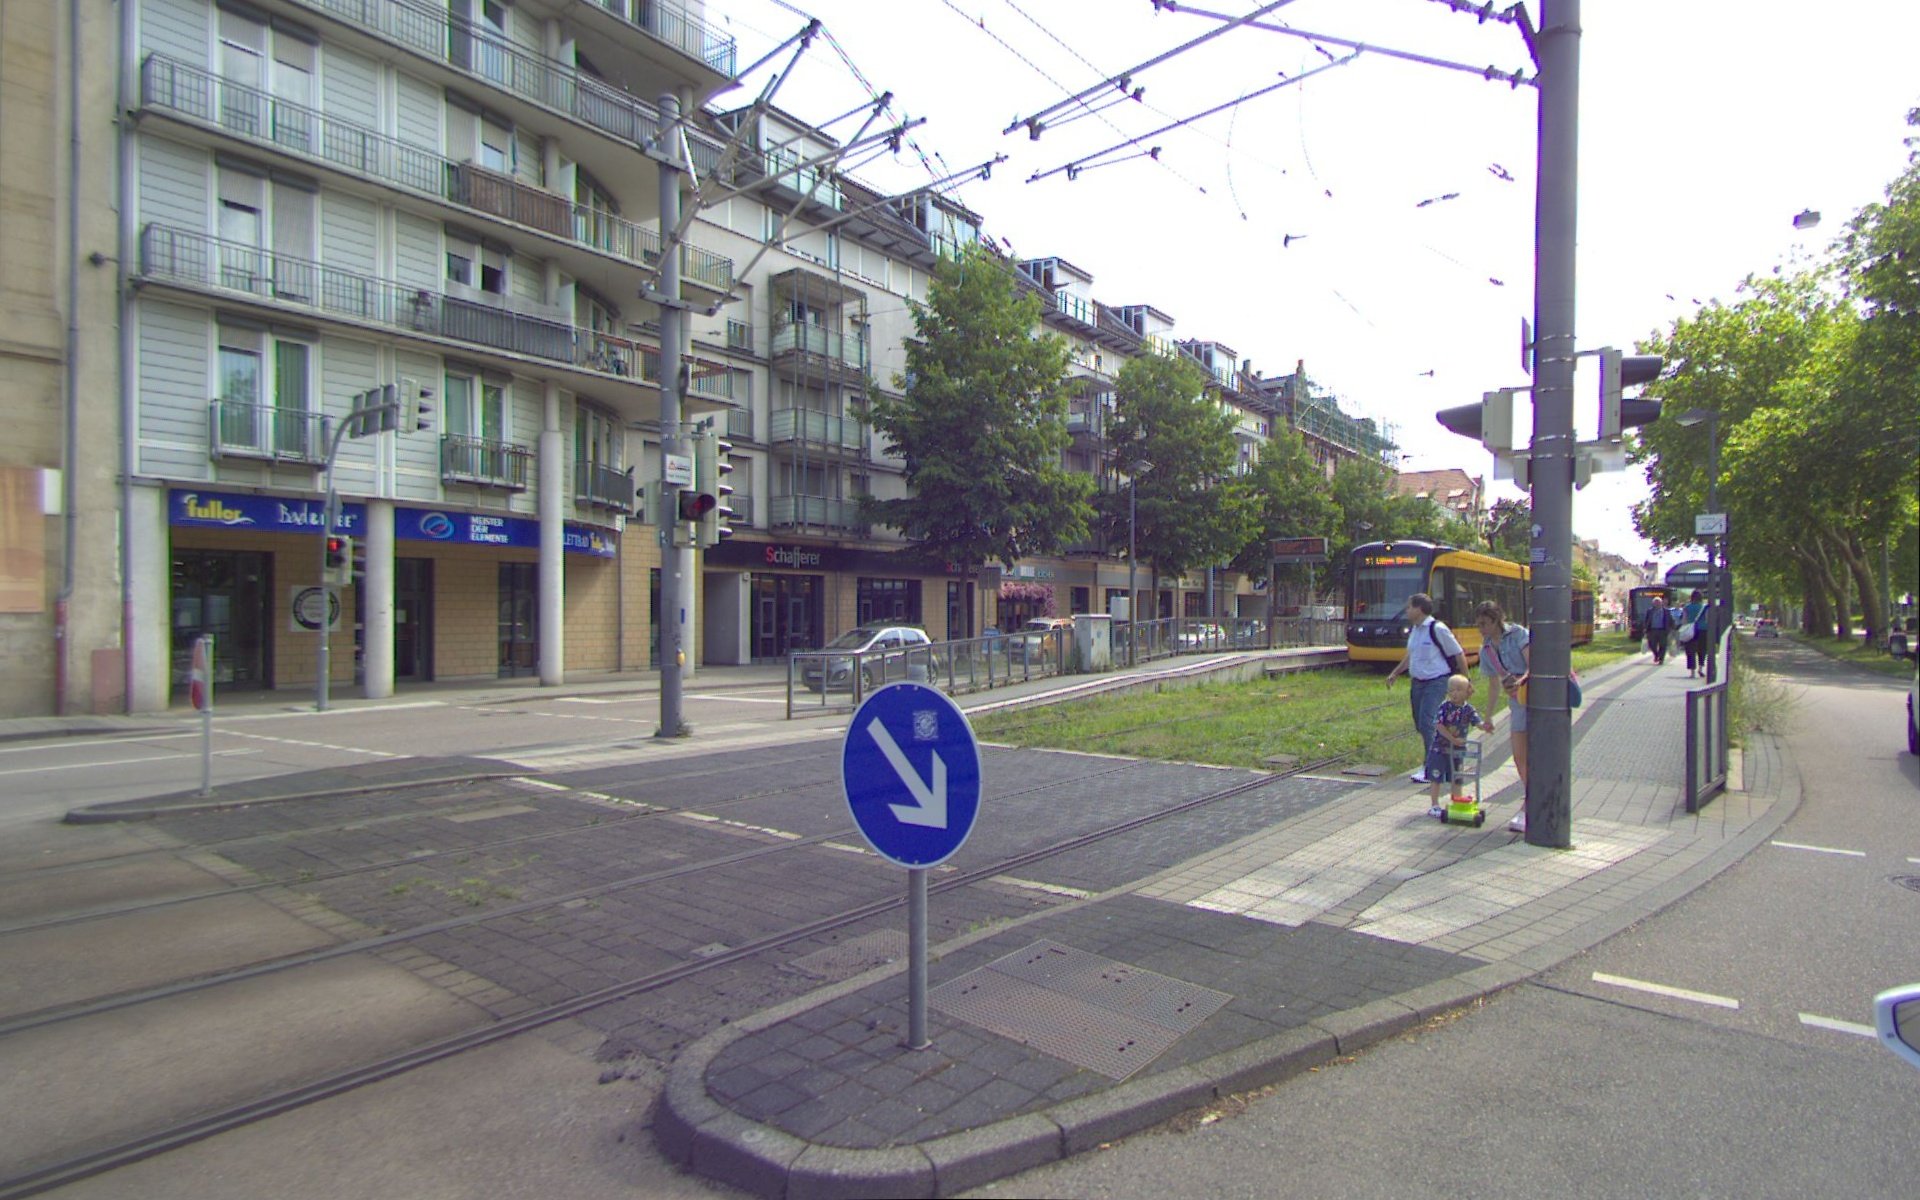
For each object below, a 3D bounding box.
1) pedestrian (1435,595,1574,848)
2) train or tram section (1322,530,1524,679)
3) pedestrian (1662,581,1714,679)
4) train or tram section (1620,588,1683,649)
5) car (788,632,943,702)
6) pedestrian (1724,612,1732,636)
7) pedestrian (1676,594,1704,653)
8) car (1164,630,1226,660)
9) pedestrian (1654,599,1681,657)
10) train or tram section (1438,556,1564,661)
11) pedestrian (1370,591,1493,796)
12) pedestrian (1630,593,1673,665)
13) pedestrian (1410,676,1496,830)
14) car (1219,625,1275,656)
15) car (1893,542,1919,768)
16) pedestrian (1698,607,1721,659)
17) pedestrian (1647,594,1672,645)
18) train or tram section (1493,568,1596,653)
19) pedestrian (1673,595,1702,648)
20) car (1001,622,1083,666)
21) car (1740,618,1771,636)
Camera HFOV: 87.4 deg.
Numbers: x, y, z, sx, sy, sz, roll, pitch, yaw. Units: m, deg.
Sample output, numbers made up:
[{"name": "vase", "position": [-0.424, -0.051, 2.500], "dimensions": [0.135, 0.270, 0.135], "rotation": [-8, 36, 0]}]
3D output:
[{"name": "pedestrian", "position": [3.872, 0.819, 7.160], "dimensions": [0.668, 1.688, 0.620], "rotation": [0, -1, -32]}, {"name": "train or tram section", "position": [14.511, 0.208, 30.564], "dimensions": [2.772, 3.632, 12.963], "rotation": [0, -1, 38]}, {"name": "pedestrian", "position": [14.686, 0.604, 20.259], "dimensions": [0.817, 1.924, 0.843], "rotation": [0, -1, 38]}, {"name": "train or tram section", "position": [45.642, 1.227, 66.118], "dimensions": [2.690, 3.632, 12.963], "rotation": [0, -1, 38]}, {"name": "car", "position": [-2.129, 1.492, 23.502], "dimensions": [1.612, 1.457, 3.630], "rotation": [-1, -1, 37]}, {"name": "pedestrian", "position": [50.716, 1.576, 66.303], "dimensions": [0.380, 1.612, 0.437], "rotation": [-1, -1, 37]}, {"name": "pedestrian", "position": [23.699, 0.764, 32.606], "dimensions": [0.692, 1.874, 0.786], "rotation": [-1, -1, 37]}, {"name": "car", "position": [11.638, 2.182, 49.674], "dimensions": [1.698, 1.389, 3.463], "rotation": [-1, -1, 38]}, {"name": "pedestrian", "position": [23.266, 0.918, 33.018], "dimensions": [0.692, 1.874, 0.904], "rotation": [-1, -1, 37]}, {"name": "train or tram section", "position": [21.631, 0.368, 39.808], "dimensions": [2.761, 3.632, 10.361], "rotation": [0, -1, 38]}, {"name": "pedestrian", "position": [4.476, 0.831, 9.520], "dimensions": [0.838, 1.804, 1.040], "rotation": [-1, -1, 39]}, {"name": "pedestrian", "position": [17.620, 0.725, 25.589], "dimensions": [0.847, 1.798, 0.873], "rotation": [0, -1, 38]}, {"name": "pedestrian", "position": [3.698, 1.127, 7.542], "dimensions": [0.432, 1.077, 0.416], "rotation": [0, -1, -34]}, {"name": "car", "position": [15.680, 2.170, 54.757], "dimensions": [1.698, 1.630, 3.676], "rotation": [-1, -1, 38]}, {"name": "car", "position": [11.090, 0.577, 10.192], "dimensions": [2.022, 2.364, 4.693], "rotation": [0, 0, 39]}, {"name": "pedestrian", "position": [27.947, 1.222, 37.461], "dimensions": [0.462, 1.925, 0.537], "rotation": [-1, -1, 14]}, {"name": "pedestrian", "position": [25.623, 0.714, 36.771], "dimensions": [0.703, 1.824, 1.128], "rotation": [-1, -1, 37]}, {"name": "train or tram section", "position": [28.769, 0.564, 49.058], "dimensions": [2.690, 3.632, 12.963], "rotation": [0, -1, 38]}, {"name": "pedestrian", "position": [26.403, 0.779, 36.449], "dimensions": [0.800, 1.897, 1.027], "rotation": [-1, -1, 37]}, {"name": "car", "position": [3.223, 1.683, 38.891], "dimensions": [1.631, 1.599, 3.465], "rotation": [-1, -1, 36]}, {"name": "car", "position": [71.274, 2.418, 89.996], "dimensions": [1.791, 1.512, 3.989], "rotation": [0, -1, 33]}]
